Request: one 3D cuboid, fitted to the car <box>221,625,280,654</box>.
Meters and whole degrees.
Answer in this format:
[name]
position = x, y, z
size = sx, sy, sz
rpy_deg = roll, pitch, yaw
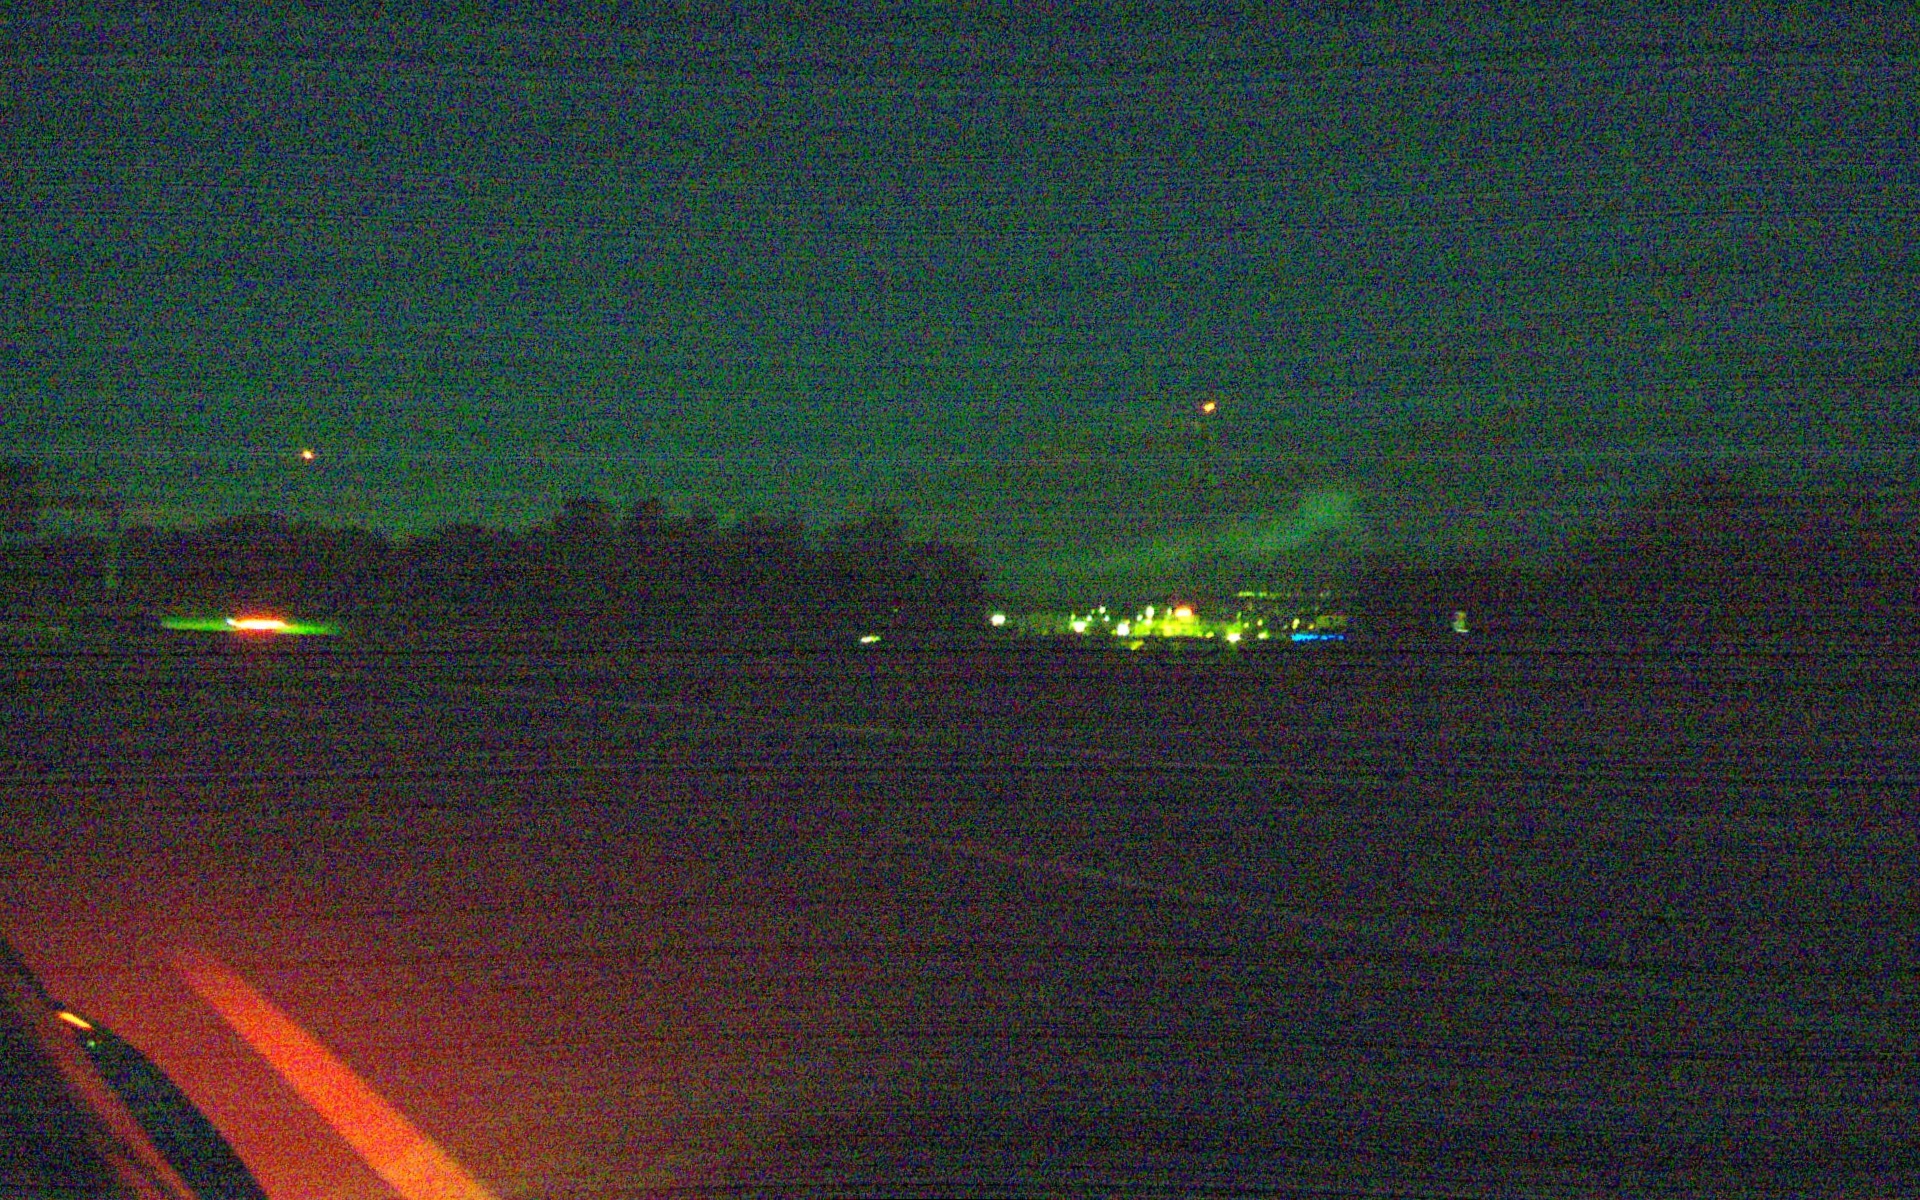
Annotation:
[car]
position = -45.345, 2.488, 64.640
size = 5.069, 1.758, 1.972
rpy_deg = -1, -1, 42
